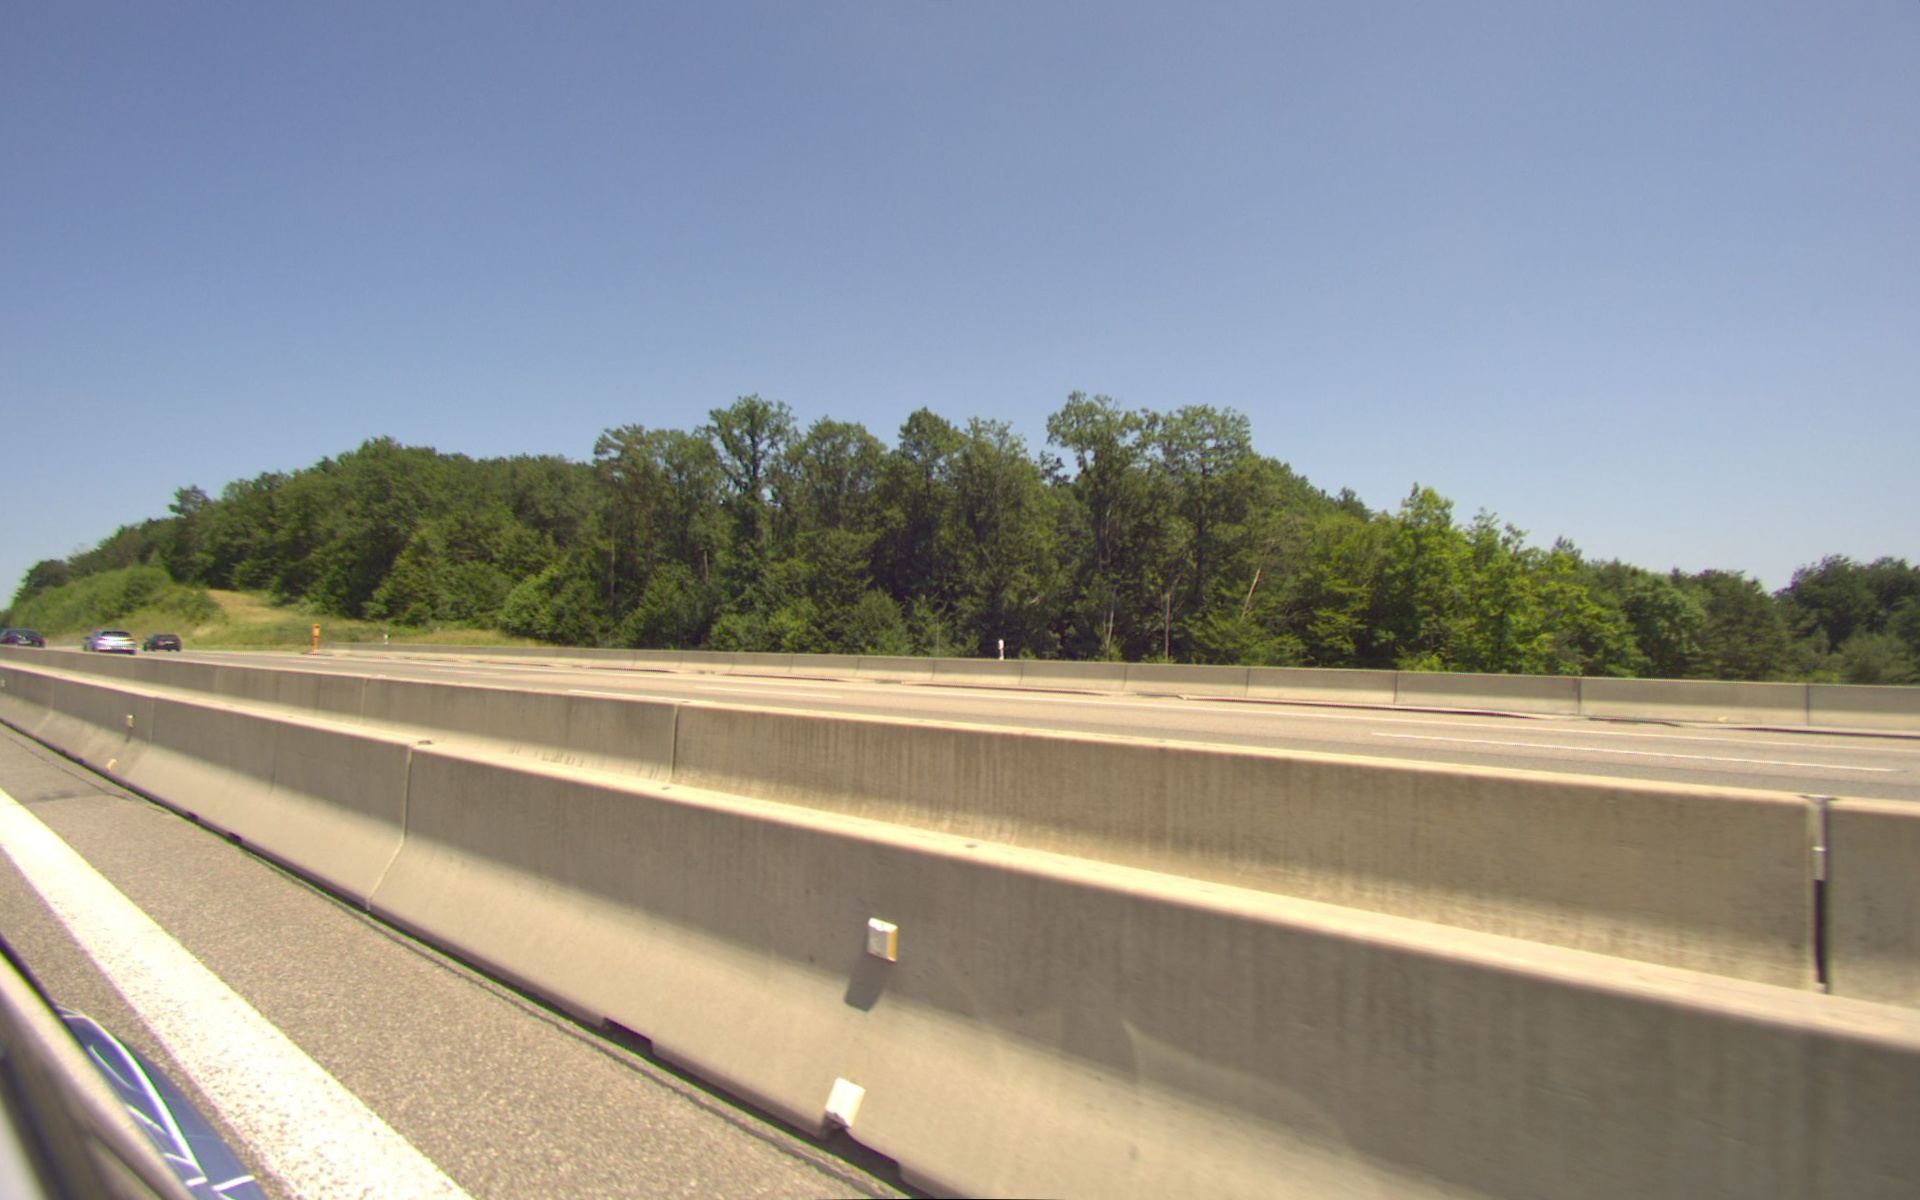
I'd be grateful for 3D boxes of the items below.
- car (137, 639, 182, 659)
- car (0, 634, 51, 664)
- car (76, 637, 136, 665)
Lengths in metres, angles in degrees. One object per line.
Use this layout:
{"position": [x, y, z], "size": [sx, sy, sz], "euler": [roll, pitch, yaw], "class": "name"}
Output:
{"position": [-62.915, 3.831, 79.520], "size": [4.760, 1.452, 1.820], "euler": [-2, -5, 40], "class": "car"}
{"position": [-49.463, 2.557, 53.281], "size": [4.842, 1.452, 1.819], "euler": [-2, -3, 41], "class": "car"}
{"position": [-46.172, 2.726, 54.713], "size": [3.997, 1.452, 1.820], "euler": [-2, -2, 40], "class": "car"}
